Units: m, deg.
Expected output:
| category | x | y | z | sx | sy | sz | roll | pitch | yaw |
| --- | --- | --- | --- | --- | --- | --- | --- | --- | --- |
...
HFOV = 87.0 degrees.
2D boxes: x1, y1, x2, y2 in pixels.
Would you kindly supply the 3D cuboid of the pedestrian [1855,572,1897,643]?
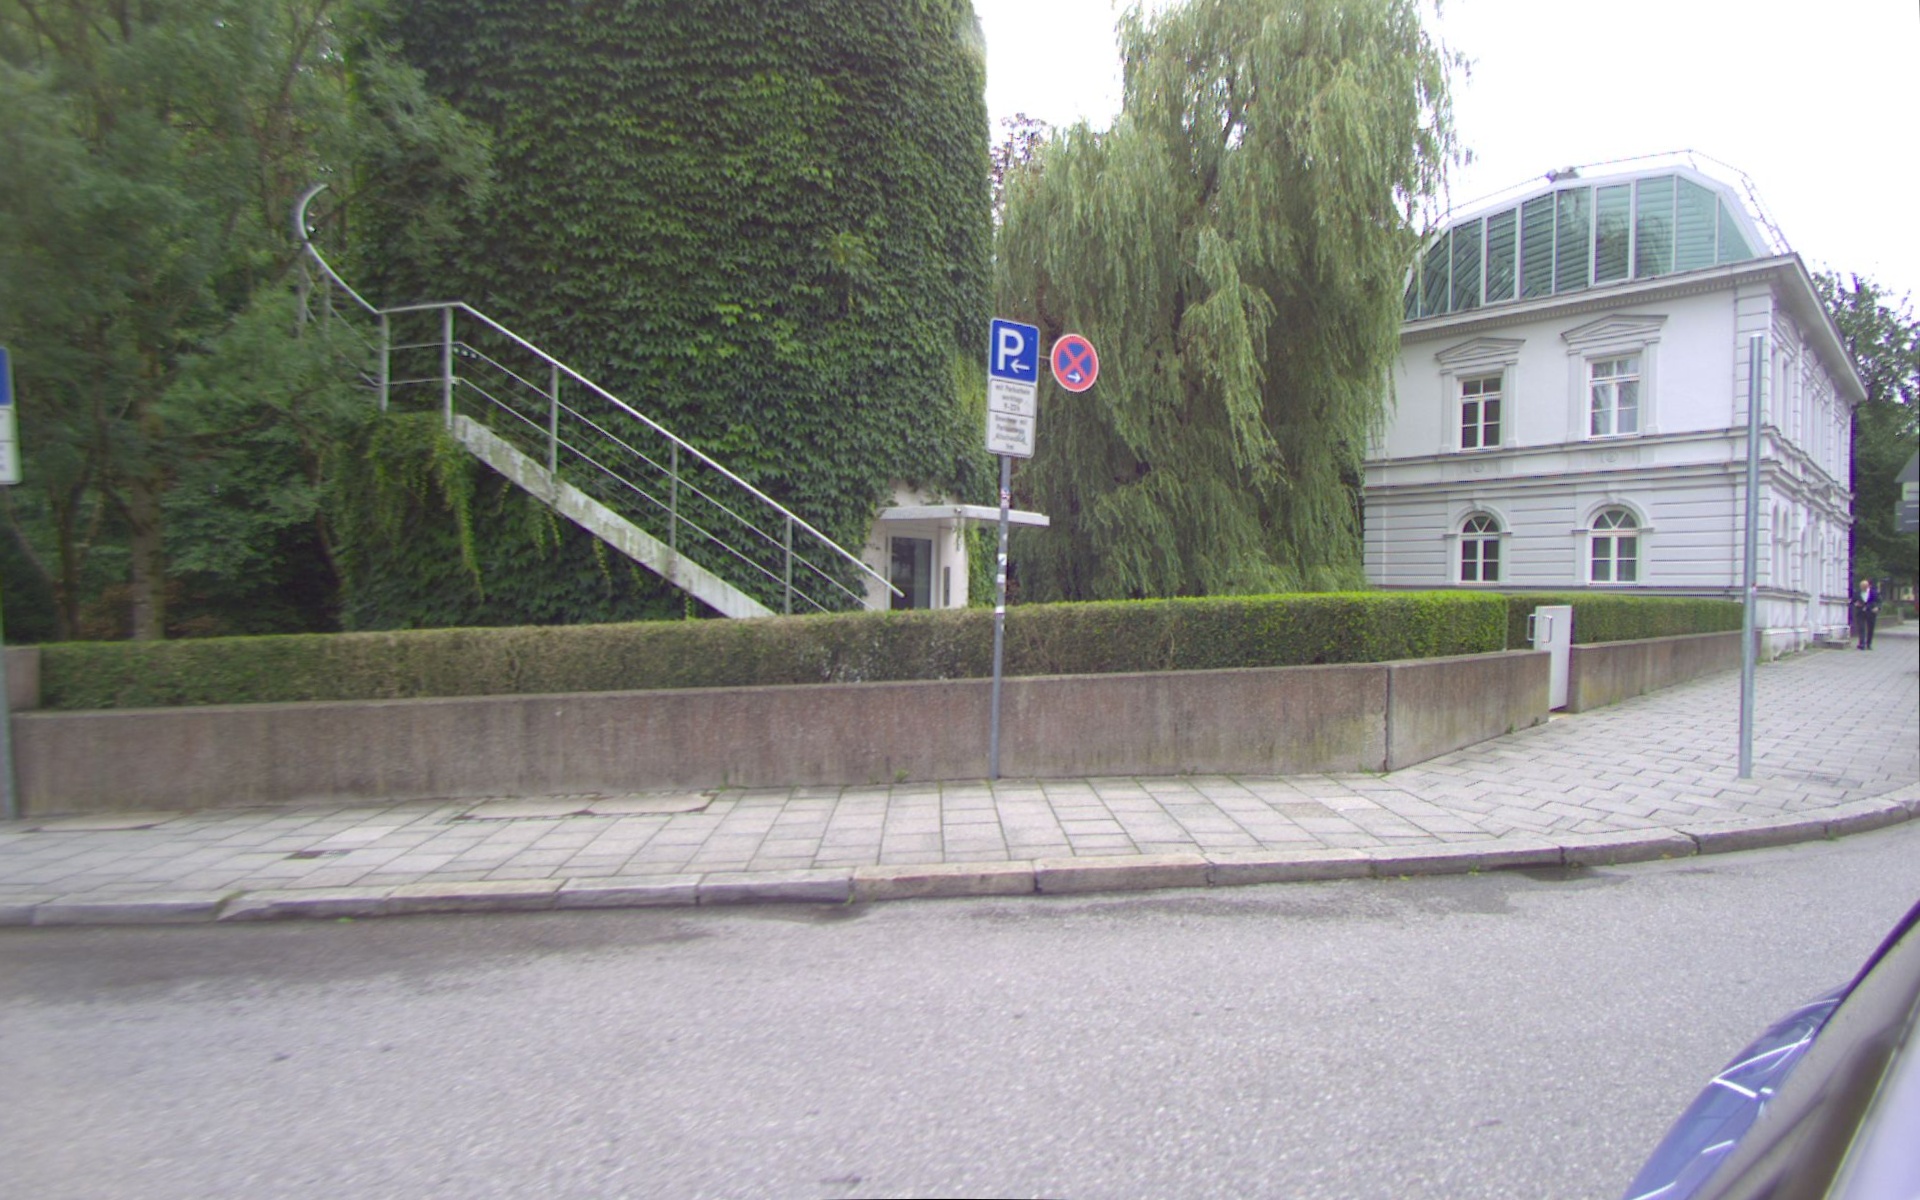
| category | x | y | z | sx | sy | sz | roll | pitch | yaw |
| --- | --- | --- | --- | --- | --- | --- | --- | --- | --- |
| pedestrian | 22.739 | 0.178 | 25.122 | 0.755 | 1.727 | 0.679 | 0 | 2 | -43 |
